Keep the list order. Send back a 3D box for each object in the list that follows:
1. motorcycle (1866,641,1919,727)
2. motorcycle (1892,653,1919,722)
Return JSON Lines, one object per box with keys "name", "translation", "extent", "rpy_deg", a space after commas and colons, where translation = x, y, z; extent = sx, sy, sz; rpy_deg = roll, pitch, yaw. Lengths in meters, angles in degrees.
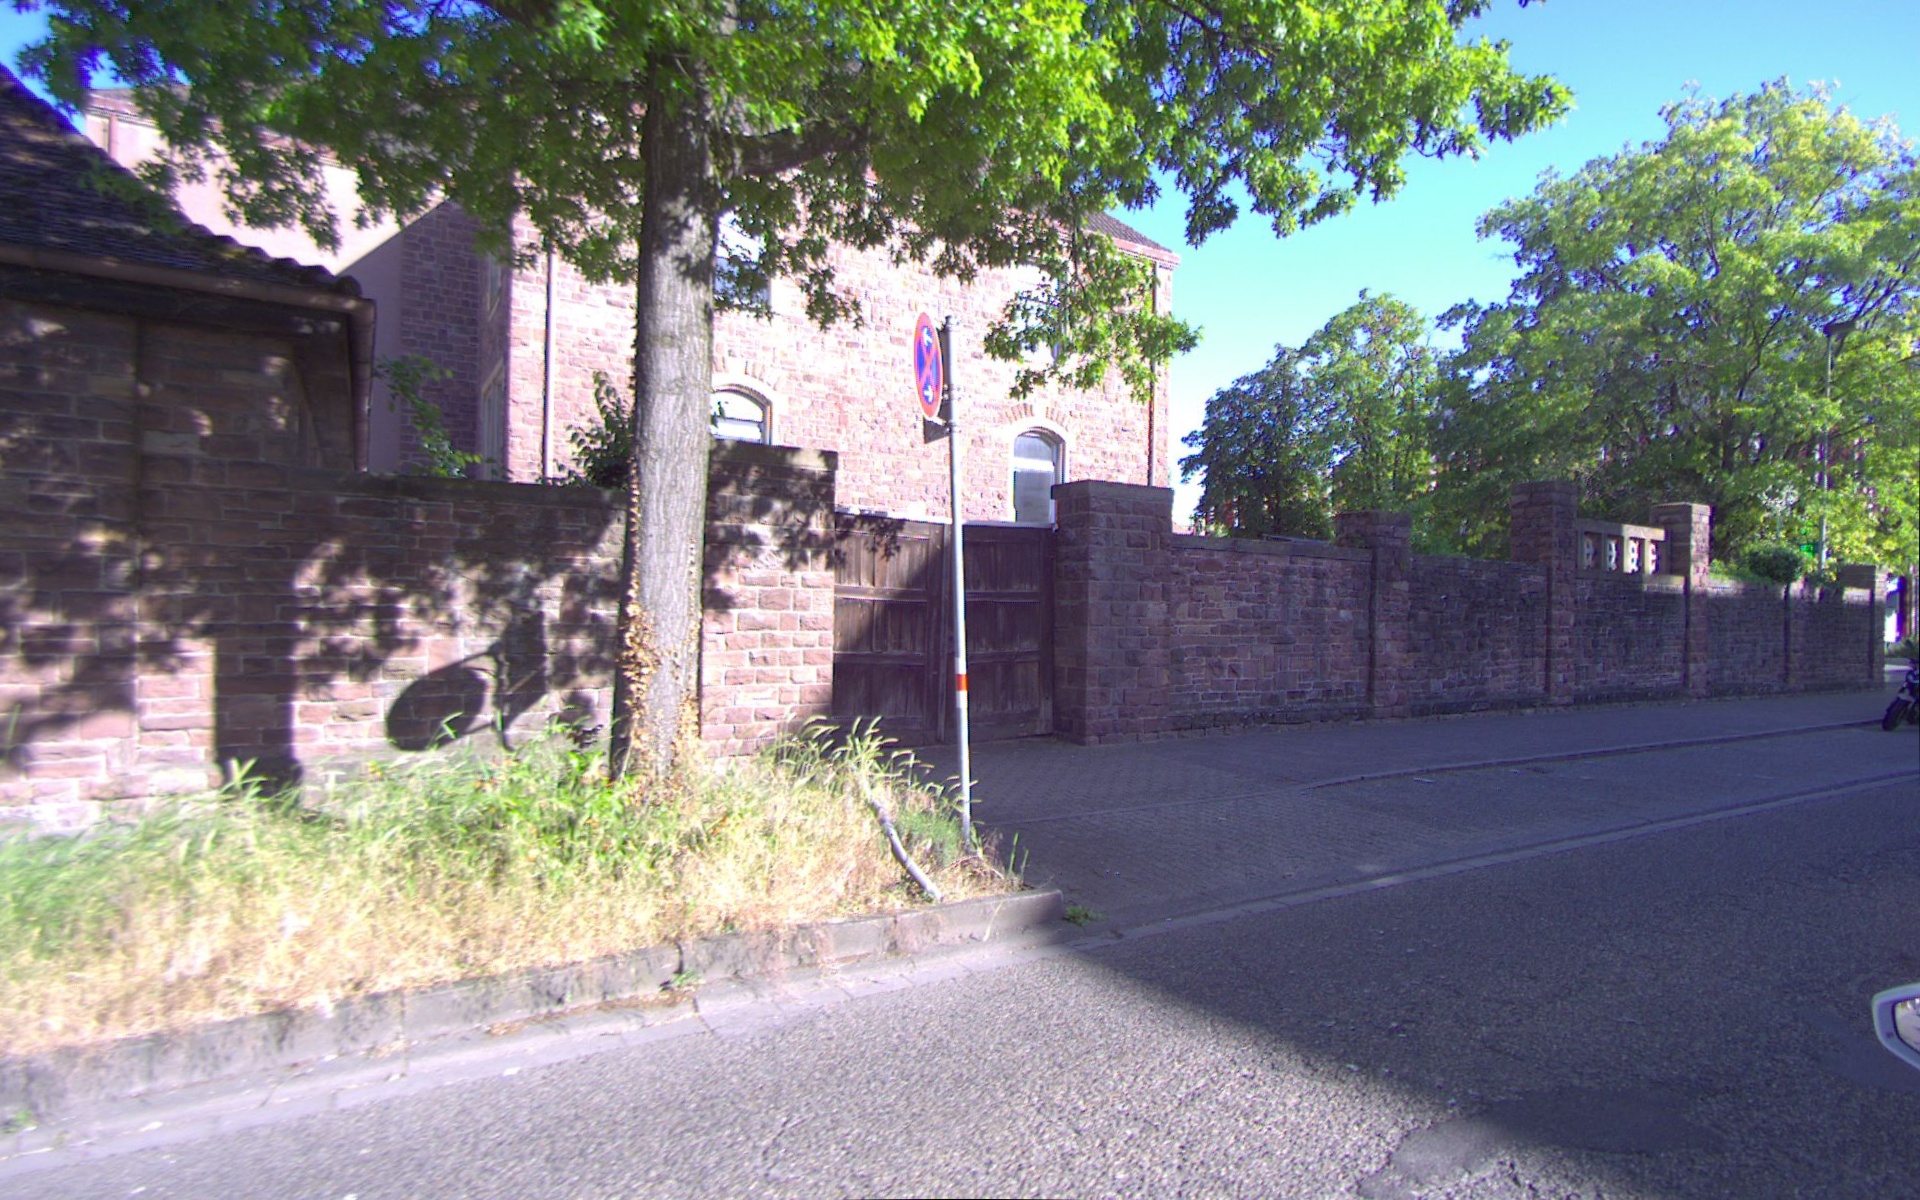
{"name": "motorcycle", "translation": [15.339, 1.307, 15.536], "extent": [2.079, 1.293, 0.578], "rpy_deg": [1, 0, 2]}
{"name": "motorcycle", "translation": [16.516, 1.444, 16.368], "extent": [2.079, 1.089, 0.578], "rpy_deg": [1, 0, 2]}
